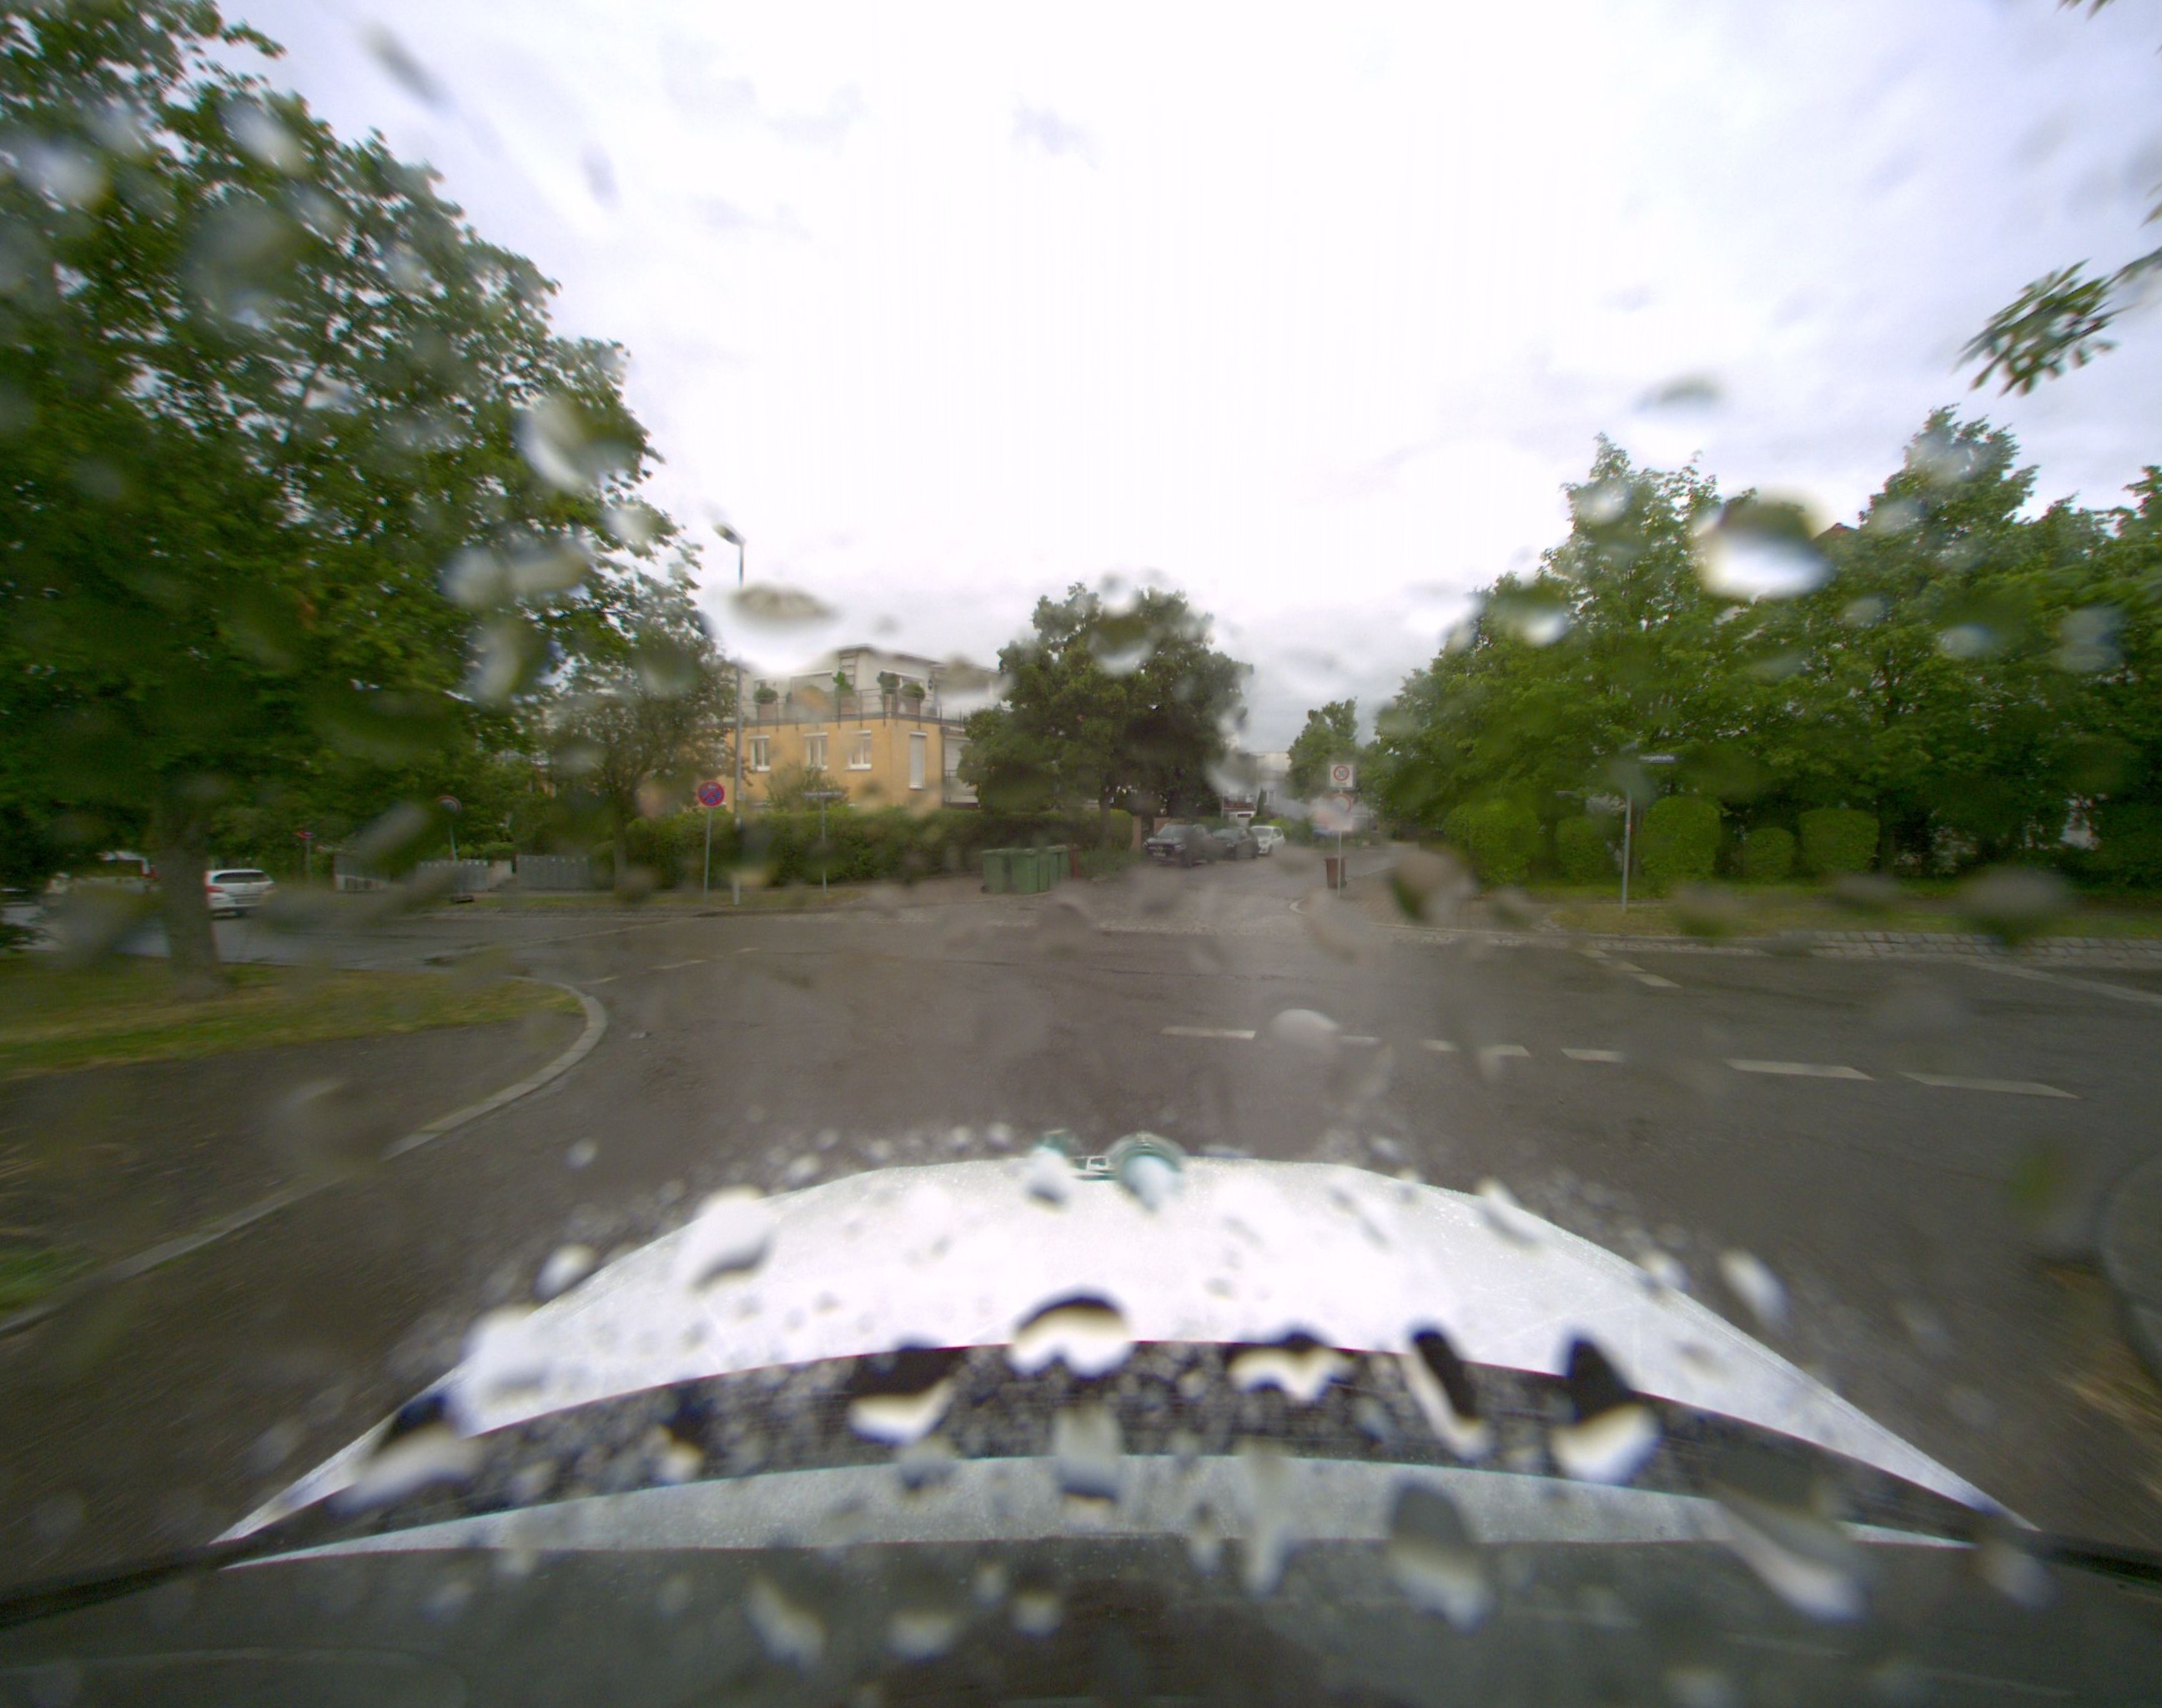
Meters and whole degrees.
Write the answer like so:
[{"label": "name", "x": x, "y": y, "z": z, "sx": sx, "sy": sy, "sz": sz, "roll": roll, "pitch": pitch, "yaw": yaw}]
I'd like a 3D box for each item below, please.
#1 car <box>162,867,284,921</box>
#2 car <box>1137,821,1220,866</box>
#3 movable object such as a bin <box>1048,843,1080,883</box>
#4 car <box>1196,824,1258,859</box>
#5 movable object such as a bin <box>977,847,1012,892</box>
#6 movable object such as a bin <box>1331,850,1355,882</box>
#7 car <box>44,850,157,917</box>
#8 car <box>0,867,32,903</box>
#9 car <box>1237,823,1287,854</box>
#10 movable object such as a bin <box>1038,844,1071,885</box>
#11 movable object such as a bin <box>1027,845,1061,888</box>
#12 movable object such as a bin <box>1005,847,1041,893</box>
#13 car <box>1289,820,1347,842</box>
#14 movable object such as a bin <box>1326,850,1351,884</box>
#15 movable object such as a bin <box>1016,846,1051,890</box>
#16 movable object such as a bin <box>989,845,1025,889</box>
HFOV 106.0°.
[{"label": "car", "x": -26.691, "y": 1.231, "z": 25.329, "sx": 3.679, "sy": 1.502, "sz": 1.621, "roll": -2, "pitch": 1, "yaw": 28}, {"label": "car", "x": 3.821, "y": -0.457, "z": 31.375, "sx": 1.759, "sy": 1.518, "sz": 4.163, "roll": 3, "pitch": 4, "yaw": 27}, {"label": "movable object such as a bin", "x": -0.459, "y": 0.240, "z": 22.484, "sx": 0.688, "sy": 1.054, "sz": 0.608, "roll": 0, "pitch": 3, "yaw": 19}, {"label": "car", "x": 6.638, "y": -0.617, "z": 36.727, "sx": 1.620, "sy": 1.408, "sz": 3.627, "roll": 4, "pitch": 4, "yaw": 29}, {"label": "movable object such as a bin", "x": -2.138, "y": 0.369, "z": 20.216, "sx": 0.659, "sy": 1.073, "sz": 0.546, "roll": 0, "pitch": 3, "yaw": 20}, {"label": "movable object such as a bin", "x": 7.826, "y": 0.355, "z": 24.333, "sx": 0.565, "sy": 0.931, "sz": 0.533, "roll": 2, "pitch": 2, "yaw": 32}, {"label": "car", "x": -39.823, "y": 1.183, "z": 33.051, "sx": 5.438, "sy": 2.467, "sz": 2.138, "roll": -2, "pitch": 1, "yaw": 32}, {"label": "car", "x": -53.002, "y": 1.514, "z": 39.953, "sx": 3.650, "sy": 1.551, "sz": 1.703, "roll": 1, "pitch": 2, "yaw": 40}, {"label": "car", "x": 9.166, "y": -0.820, "z": 41.046, "sx": 1.496, "sy": 1.476, "sz": 3.294, "roll": 4, "pitch": 4, "yaw": 30}, {"label": "movable object such as a bin", "x": -0.692, "y": 0.278, "z": 21.705, "sx": 0.688, "sy": 1.054, "sz": 0.608, "roll": 0, "pitch": 3, "yaw": 19}, {"label": "movable object such as a bin", "x": -0.963, "y": 0.315, "z": 21.145, "sx": 0.688, "sy": 1.067, "sz": 0.582, "roll": 0, "pitch": 3, "yaw": 19}, {"label": "movable object such as a bin", "x": -1.418, "y": 0.379, "z": 20.012, "sx": 0.688, "sy": 1.074, "sz": 0.605, "roll": 0, "pitch": 3, "yaw": 19}, {"label": "car", "x": 17.903, "y": -1.756, "z": 61.547, "sx": 3.952, "sy": 1.567, "sz": 1.919, "roll": 2, "pitch": 2, "yaw": 24}, {"label": "movable object such as a bin", "x": 7.532, "y": 0.372, "z": 23.853, "sx": 0.565, "sy": 0.931, "sz": 0.533, "roll": 2, "pitch": 2, "yaw": 32}, {"label": "movable object such as a bin", "x": -1.197, "y": 0.345, "z": 20.584, "sx": 0.688, "sy": 1.074, "sz": 0.546, "roll": 0, "pitch": 3, "yaw": 19}, {"label": "movable object such as a bin", "x": -1.884, "y": 0.332, "z": 20.807, "sx": 0.688, "sy": 1.072, "sz": 0.601, "roll": 0, "pitch": 3, "yaw": 19}]
